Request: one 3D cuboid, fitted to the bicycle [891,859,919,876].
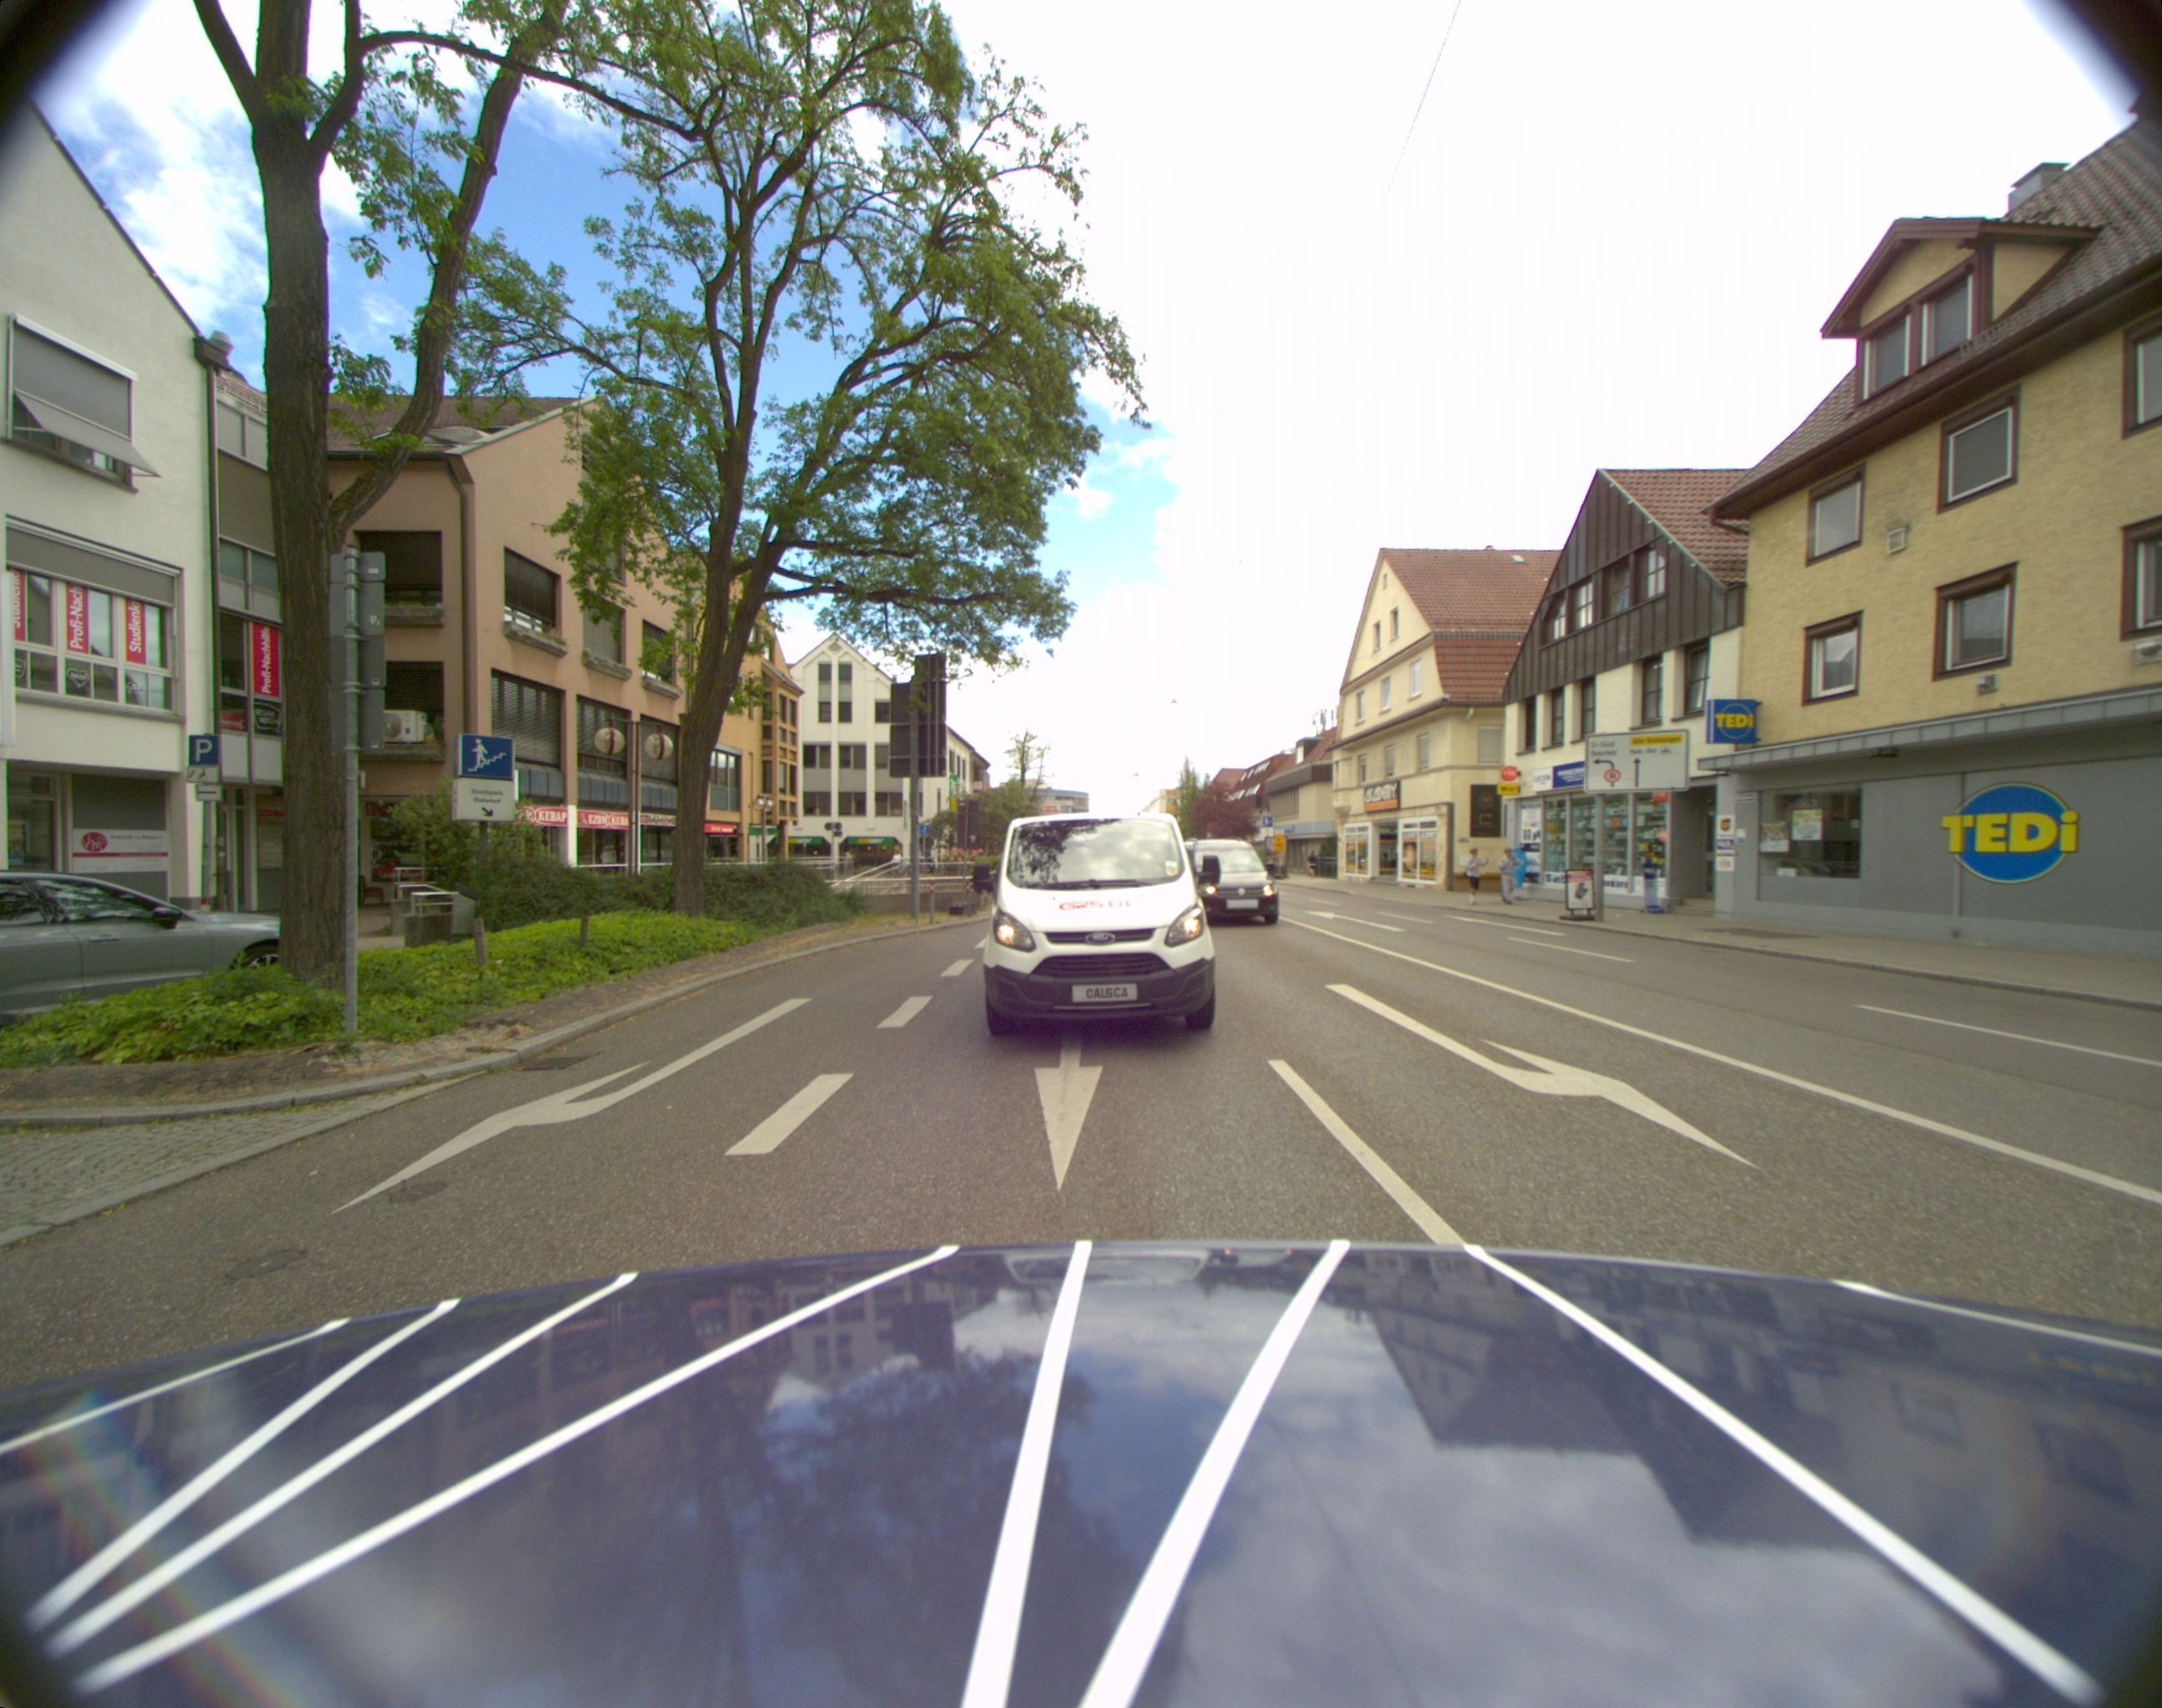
[{"bbox_3d":[-10.309,0.789,44.459,1.594,0.963,0.461,0,1,-14],"label":"bicycle"}]

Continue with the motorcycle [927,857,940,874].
[{"bbox_3d":[-9.648,0.719,49.767,0.464,1.062,1.995,0,0,1],"label":"motorcycle"}]

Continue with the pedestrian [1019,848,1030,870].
[{"bbox_3d":[-4.119,0.379,55.396,0.653,1.568,0.684,-1,1,1],"label":"pedestrian"}]

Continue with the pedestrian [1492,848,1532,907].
[{"bbox_3d":[12.549,0.686,22.156,0.689,1.660,0.709,-3,1,1],"label":"pedestrian"}]

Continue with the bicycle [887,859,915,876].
[{"bbox_3d":[-10.361,0.768,43.760,1.594,0.996,0.414,0,1,-13],"label":"bicycle"}]

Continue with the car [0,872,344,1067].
[{"bbox_3d":[-10.330,1.039,7.276,1.999,1.586,4.762,0,0,-2],"label":"car"}]

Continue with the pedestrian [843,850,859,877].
[{"bbox_3d":[-15.121,0.634,49.906,0.887,1.747,0.943,0,1,-11],"label":"pedestrian"}]

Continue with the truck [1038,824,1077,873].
[{"bbox_3d":[-1.702,-0.446,58.629,2.446,3.464,8.346,-2,1,1],"label":"truck"}]

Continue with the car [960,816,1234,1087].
[{"bbox_3d":[0.135,0.690,8.054,1.964,1.948,5.163,0,0,0],"label":"car"}]

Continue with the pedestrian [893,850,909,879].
[{"bbox_3d":[-11.871,0.683,50.134,0.871,1.812,0.785,-2,1,-3],"label":"pedestrian"}]

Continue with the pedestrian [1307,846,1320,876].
[{"bbox_3d":[14.777,0.467,48.326,0.551,1.878,0.592,-2,1,-3],"label":"pedestrian"}]

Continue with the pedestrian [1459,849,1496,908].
[{"bbox_3d":[11.697,0.706,22.416,0.689,1.680,0.742,-1,1,1],"label":"pedestrian"}]

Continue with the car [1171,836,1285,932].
[{"bbox_3d":[3.171,0.588,17.277,1.748,1.844,4.634,-2,0,1],"label":"car"}]
